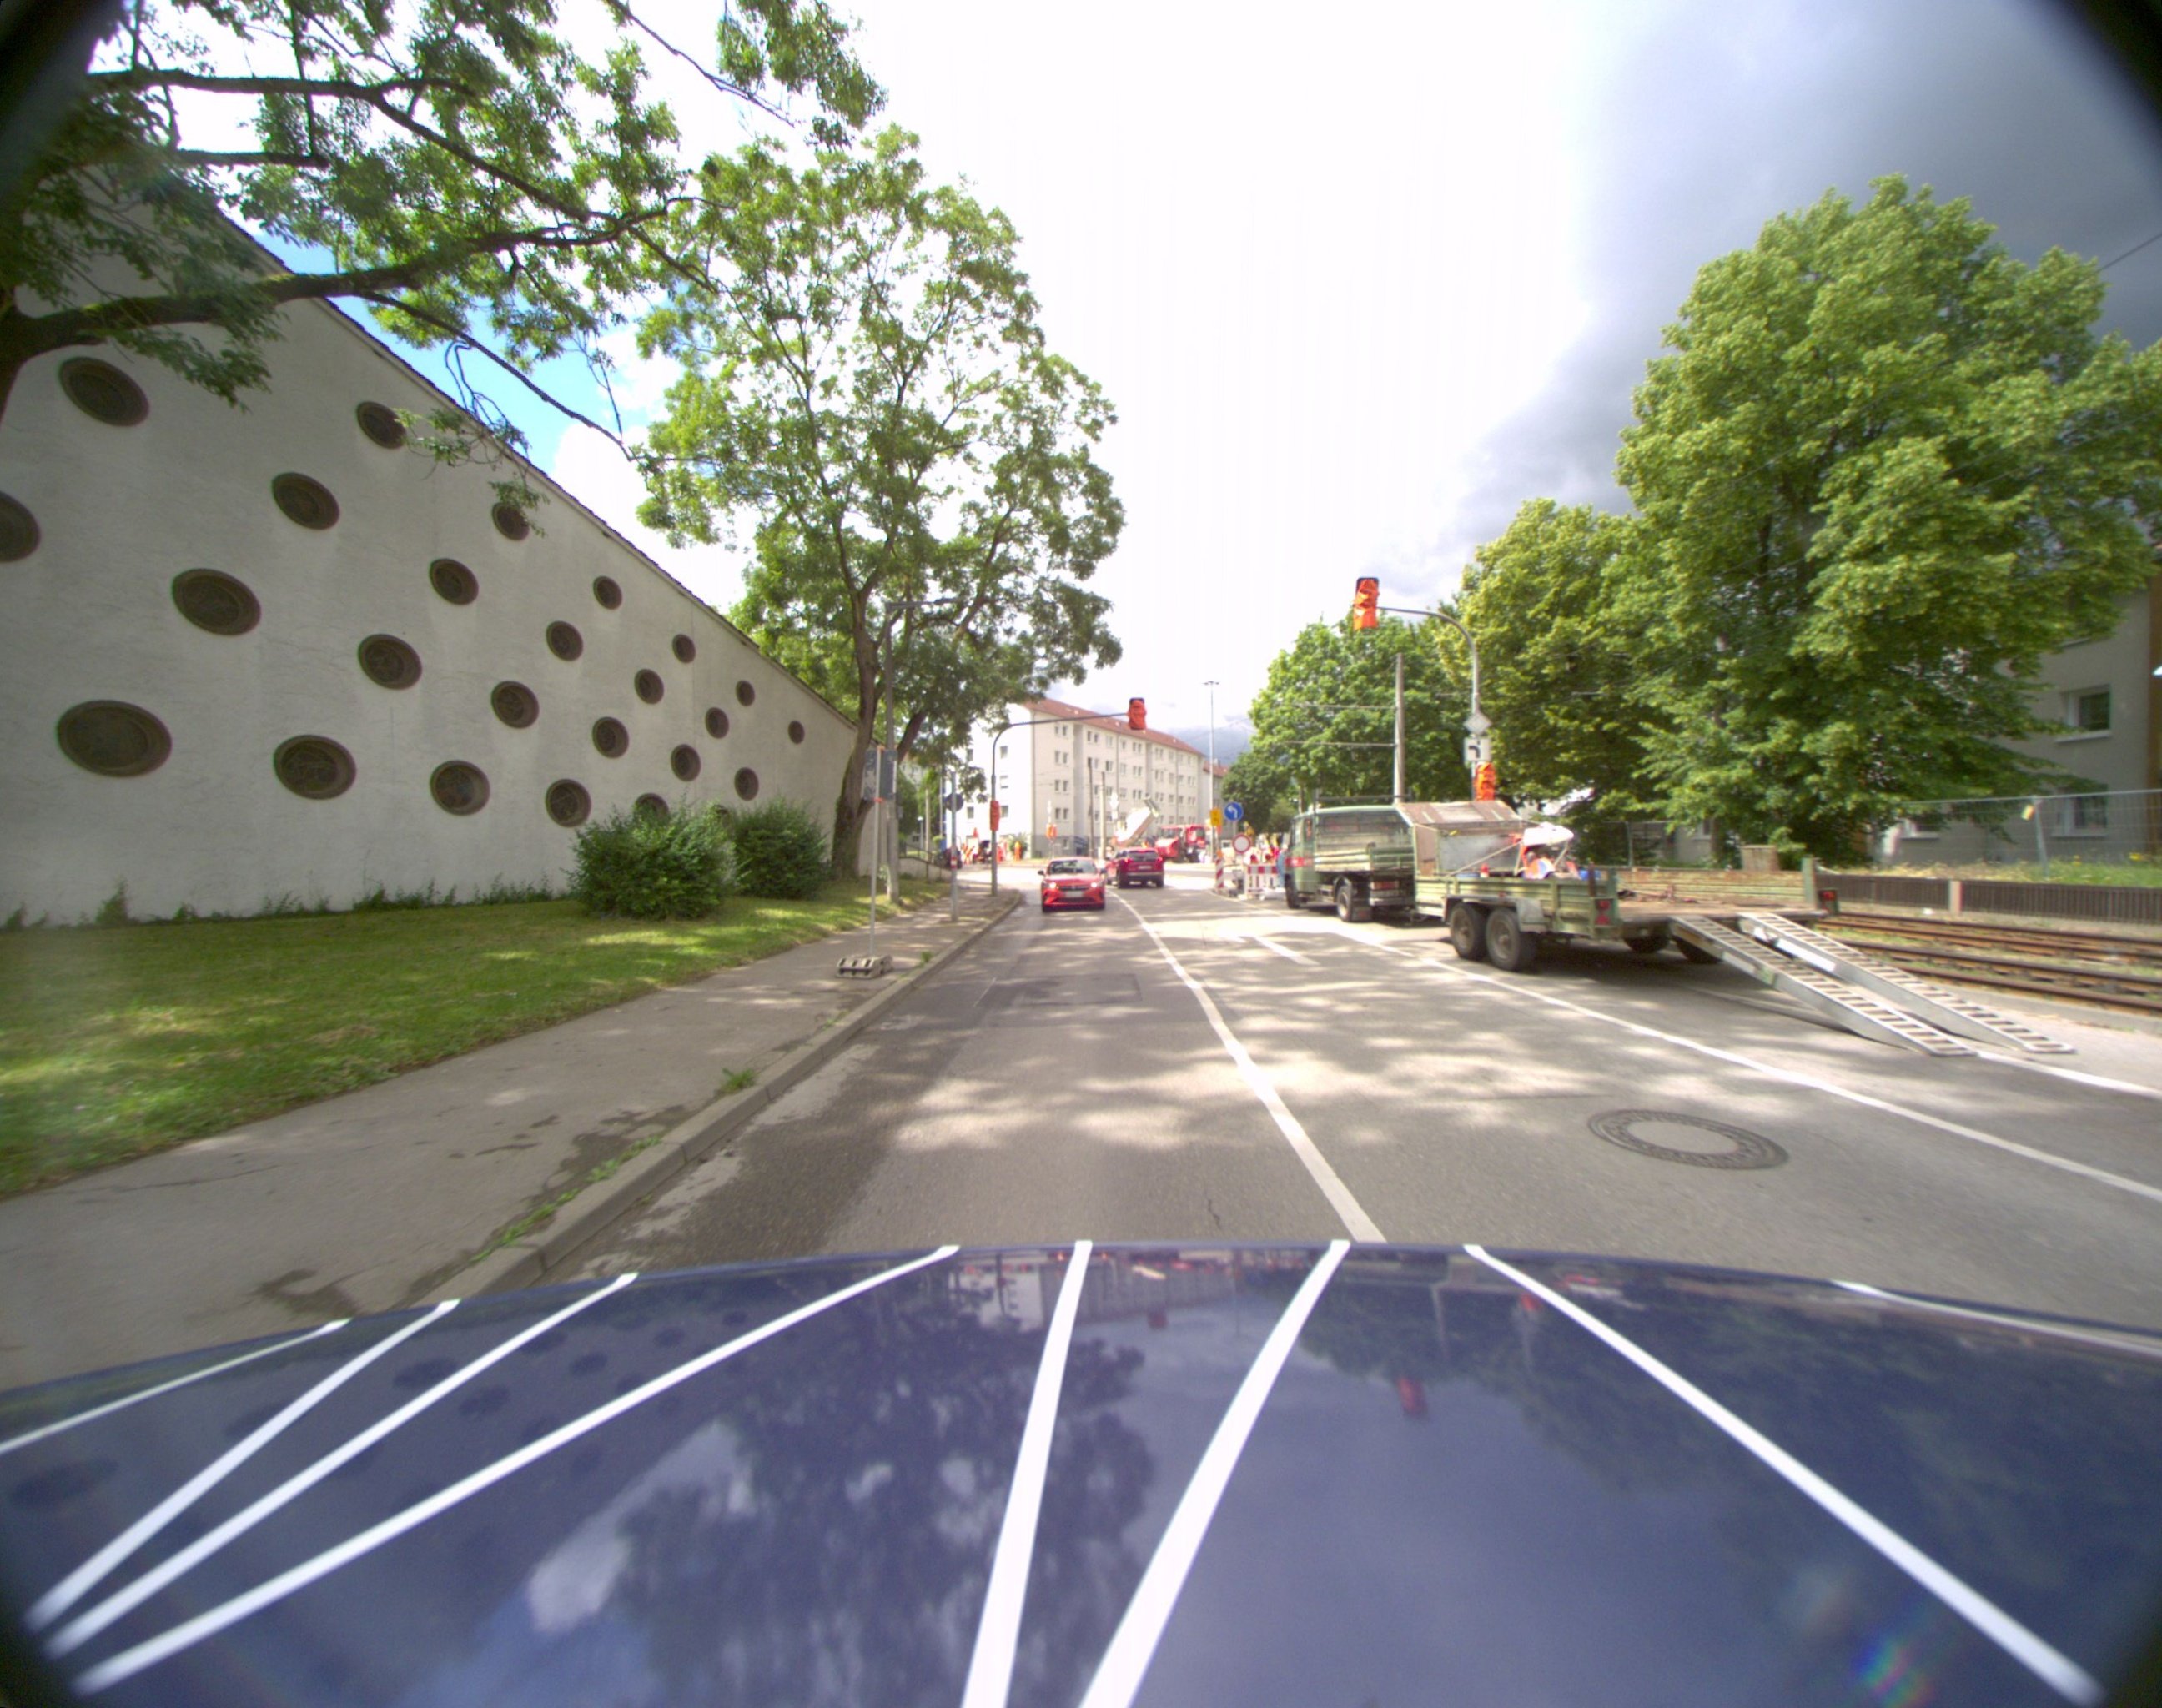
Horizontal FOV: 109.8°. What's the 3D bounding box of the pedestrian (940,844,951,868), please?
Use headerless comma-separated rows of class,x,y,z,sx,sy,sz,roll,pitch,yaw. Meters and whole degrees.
pedestrian,-9.681,0.122,54.263,0.557,1.673,0.471,0,4,32

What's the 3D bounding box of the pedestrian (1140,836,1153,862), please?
pedestrian,4.686,-0.369,54.192,0.796,1.822,0.971,-1,2,-2

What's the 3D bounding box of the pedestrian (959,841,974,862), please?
pedestrian,-9.468,-0.181,62.919,0.916,1.706,0.755,0,2,34

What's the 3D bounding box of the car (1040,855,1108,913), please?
car,-0.268,0.819,22.395,1.769,1.425,3.837,-3,1,-2

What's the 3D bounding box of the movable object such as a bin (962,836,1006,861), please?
movable object such as a bin,-7.892,-0.466,61.657,2.959,2.002,2.004,0,1,38

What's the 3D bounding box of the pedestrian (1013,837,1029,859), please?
pedestrian,-5.117,-0.513,64.966,0.872,1.813,1.098,0,1,28

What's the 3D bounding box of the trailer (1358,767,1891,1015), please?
trailer,6.211,0.313,10.203,2.669,2.201,6.247,-3,1,1

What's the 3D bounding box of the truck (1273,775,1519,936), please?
truck,6.353,-0.007,16.551,2.669,2.709,6.395,-3,1,1

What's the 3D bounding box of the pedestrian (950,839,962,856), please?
pedestrian,-8.794,-0.441,53.538,0.615,1.209,0.552,0,2,39

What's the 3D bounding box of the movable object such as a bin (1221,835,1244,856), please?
movable object such as a bin,17.609,-1.021,88.257,1.995,2.395,4.006,0,1,21

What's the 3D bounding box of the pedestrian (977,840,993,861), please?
pedestrian,-7.981,-0.326,63.045,0.916,1.706,0.861,0,2,40

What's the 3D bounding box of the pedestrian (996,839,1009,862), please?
pedestrian,-6.296,-0.261,60.857,0.767,1.829,0.785,0,1,27

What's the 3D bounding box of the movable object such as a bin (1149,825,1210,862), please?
movable object such as a bin,7.364,-0.823,56.364,2.110,2.654,5.598,1,2,34

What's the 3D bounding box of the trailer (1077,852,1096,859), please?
trailer,0.437,0.111,61.202,0.799,0.612,1.593,0,1,-37

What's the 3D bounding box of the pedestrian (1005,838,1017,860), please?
pedestrian,-6.114,-0.445,66.039,0.881,1.897,0.666,-1,2,-15

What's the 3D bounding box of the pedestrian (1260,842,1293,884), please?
pedestrian,7.413,0.350,28.788,0.766,1.542,0.898,-3,1,-39

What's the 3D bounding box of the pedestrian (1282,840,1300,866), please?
pedestrian,13.778,-0.084,49.879,0.872,1.650,0.930,-1,1,34

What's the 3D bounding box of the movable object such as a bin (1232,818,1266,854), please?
movable object such as a bin,21.462,-2.219,96.725,2.819,4.509,6.220,0,1,27

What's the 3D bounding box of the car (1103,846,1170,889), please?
car,2.195,0.488,31.292,1.848,1.609,4.238,-2,1,-8

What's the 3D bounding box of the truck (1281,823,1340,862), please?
truck,15.953,-0.782,52.622,2.412,2.554,5.594,0,1,34

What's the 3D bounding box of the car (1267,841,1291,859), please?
car,22.561,-0.460,86.369,1.995,2.002,5.918,0,0,22

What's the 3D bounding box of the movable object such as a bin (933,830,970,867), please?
movable object such as a bin,-9.227,-0.419,54.310,2.355,2.579,1.323,0,3,40

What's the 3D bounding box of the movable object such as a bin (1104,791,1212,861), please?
movable object such as a bin,6.405,-2.204,62.288,9.052,5.453,2.813,0,1,-33
